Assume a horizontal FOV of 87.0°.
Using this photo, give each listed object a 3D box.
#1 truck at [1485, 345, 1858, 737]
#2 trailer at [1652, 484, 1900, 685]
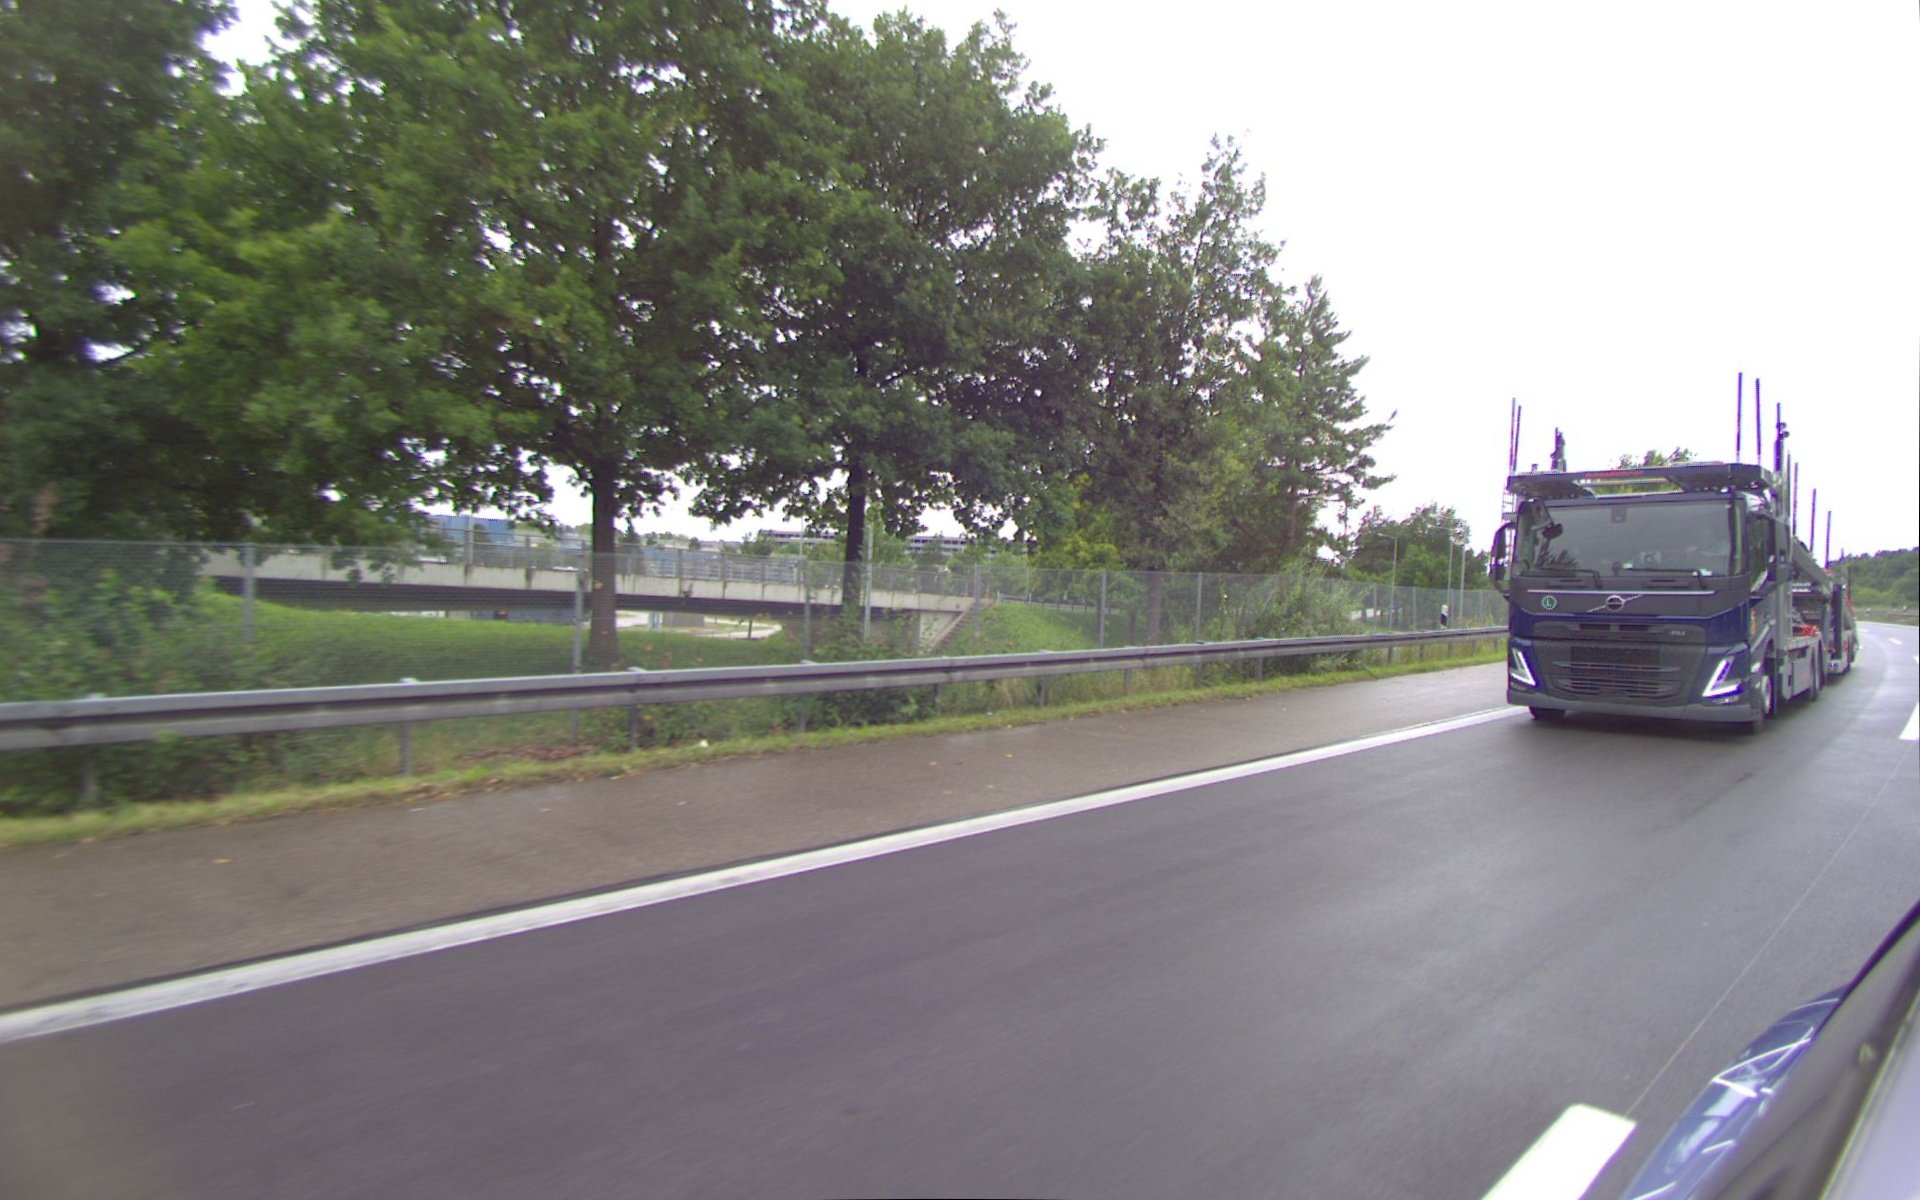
[{"bbox_3d":[10.581,-0.593,14.501,8.977,4.018,2.740,0,-1,-44],"label":"truck"},{"bbox_3d":[17.452,-0.304,21.258,10.235,3.326,2.780,0,1,-44],"label":"trailer"}]
